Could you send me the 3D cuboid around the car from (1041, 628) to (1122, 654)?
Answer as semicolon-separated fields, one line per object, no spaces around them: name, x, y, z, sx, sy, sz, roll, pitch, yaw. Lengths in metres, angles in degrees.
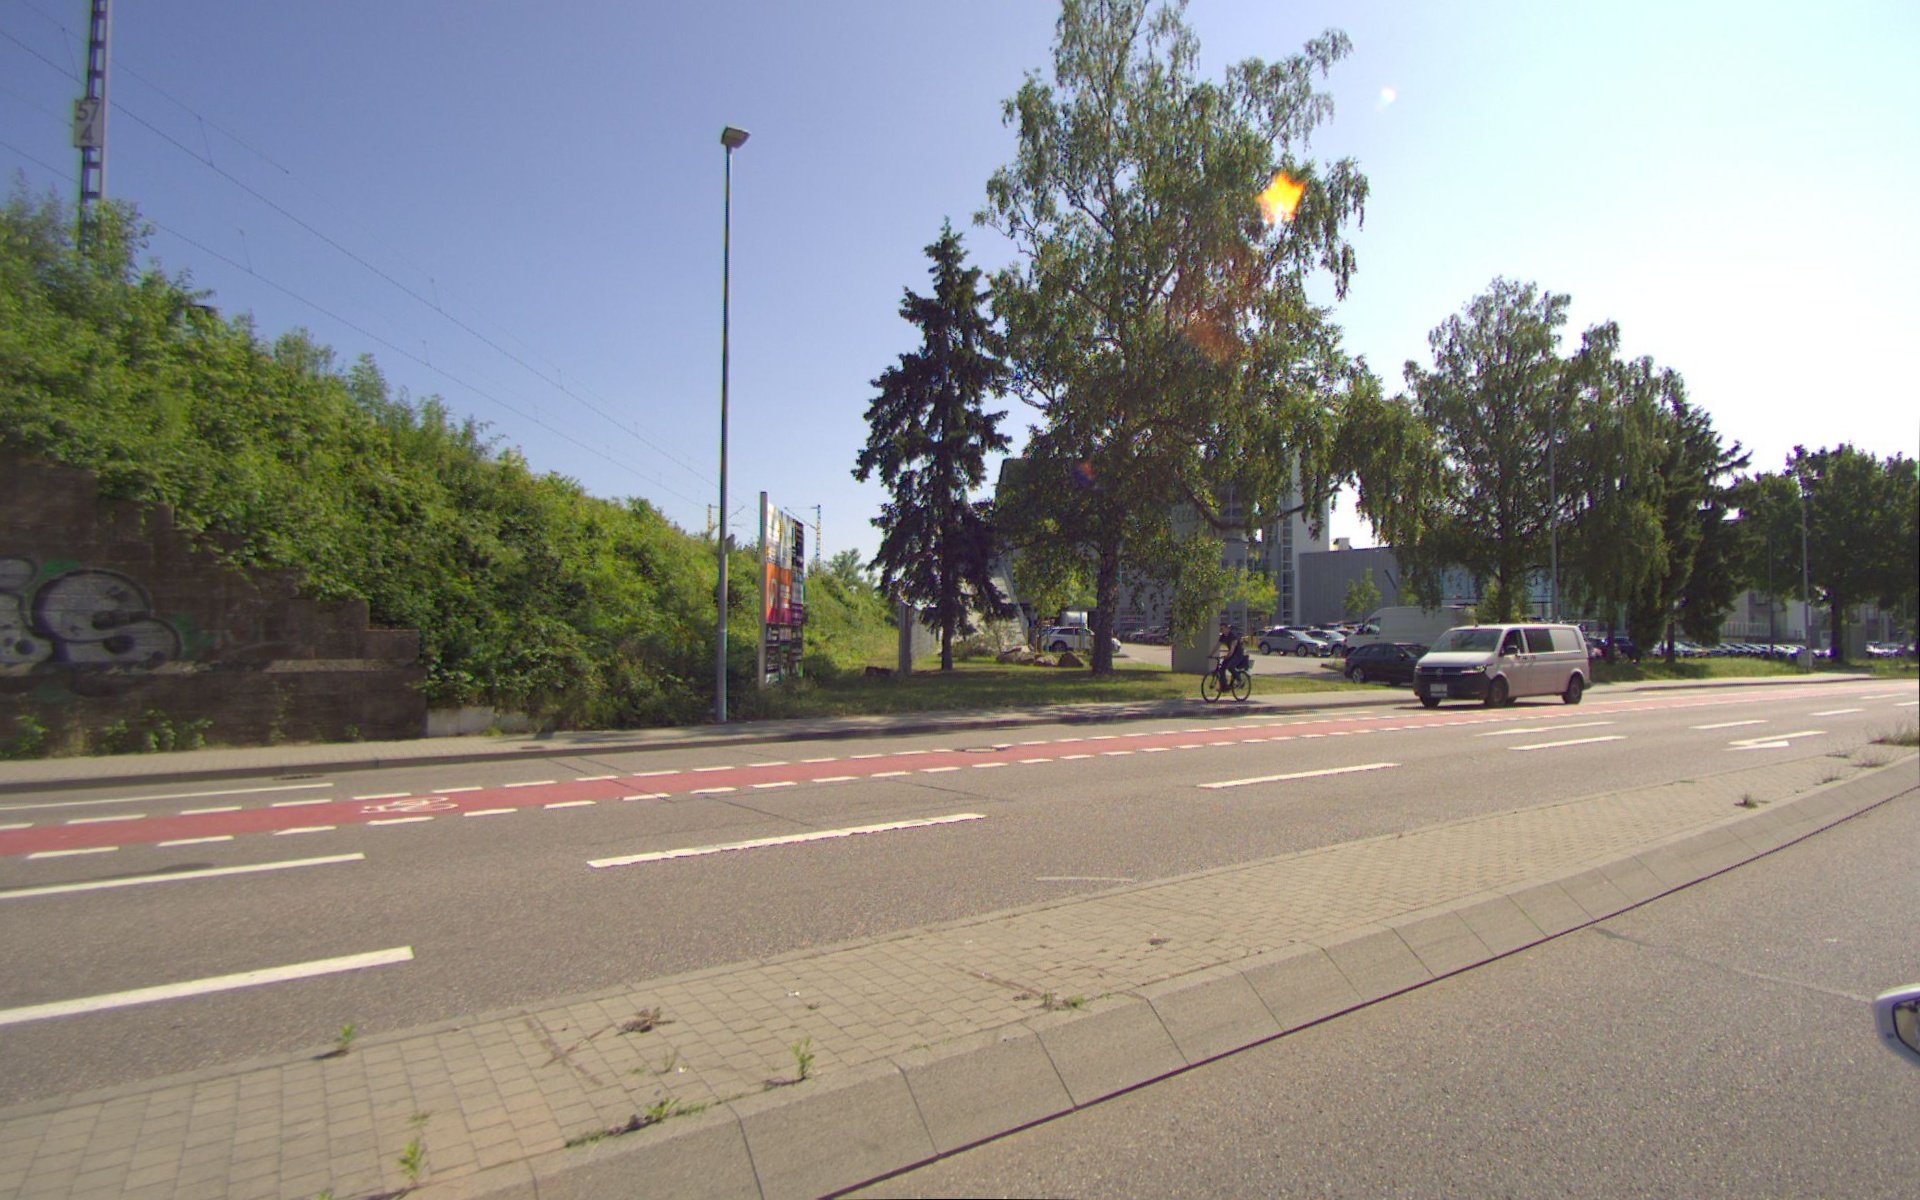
car;7.097;2.424;58.913;4.461;1.461;2.000;0;-2;-1

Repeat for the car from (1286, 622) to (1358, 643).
car;24.002;2.183;66.676;1.933;1.368;4.242;2;-3;-33

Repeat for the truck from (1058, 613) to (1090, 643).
truck;11.796;2.978;104.427;2.613;2.955;8.467;0;-2;1

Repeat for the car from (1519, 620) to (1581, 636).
car;51.027;2.419;86.876;1.933;1.368;4.242;2;-3;-33

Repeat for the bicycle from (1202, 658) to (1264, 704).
bicycle;6.472;1.908;23.792;1.596;1.041;0.444;1;-3;-31

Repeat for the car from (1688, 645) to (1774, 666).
car;52.376;3.776;68.327;1.932;1.368;4.244;2;-3;-32

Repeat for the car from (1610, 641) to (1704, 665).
car;41.779;3.145;60.305;1.932;1.368;4.244;2;-3;-32

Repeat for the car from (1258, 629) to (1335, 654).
car;18.961;2.368;56.800;1.722;1.372;4.071;2;-3;-28

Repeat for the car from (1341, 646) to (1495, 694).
car;14.735;2.207;32.638;1.968;1.432;4.665;1;-3;-17

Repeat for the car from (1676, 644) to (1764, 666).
car;50.197;3.607;66.424;1.932;1.368;4.244;2;-3;-32

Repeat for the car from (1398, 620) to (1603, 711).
car;13.374;1.557;24.774;5.284;2.040;1.984;1;-3;-30

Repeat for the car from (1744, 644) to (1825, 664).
car;60.415;3.940;73.673;1.932;1.368;4.244;2;-3;-32

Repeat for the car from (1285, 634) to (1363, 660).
car;21.121;2.740;58.423;1.725;1.457;4.063;2;-3;-33

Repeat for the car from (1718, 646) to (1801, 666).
car;56.604;3.962;71.201;1.932;1.368;4.244;2;-3;-32

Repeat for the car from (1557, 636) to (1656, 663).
car;35.858;2.725;55.840;1.932;1.399;4.244;2;-3;-32

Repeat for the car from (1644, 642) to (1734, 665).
car;46.041;3.362;63.512;1.932;1.368;4.244;2;-3;-32

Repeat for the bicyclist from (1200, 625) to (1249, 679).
bicyclist;6.232;1.229;23.703;0.939;1.244;0.631;1;-3;-30

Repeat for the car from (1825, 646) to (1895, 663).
car;74.868;4.495;83.587;2.004;1.394;4.018;2;-3;-34

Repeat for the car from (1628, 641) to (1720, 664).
car;44.024;3.210;62.033;1.932;1.368;4.244;2;-3;-32

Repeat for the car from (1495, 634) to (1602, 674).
car;29.497;2.673;50.501;1.932;1.909;4.244;2;-3;-32

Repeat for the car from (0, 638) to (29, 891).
car;-7.319;0.978;4.952;3.791;1.514;1.632;0;-3;-36

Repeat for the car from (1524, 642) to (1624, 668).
car;33.290;2.956;54.533;1.932;1.345;4.244;2;-3;-32

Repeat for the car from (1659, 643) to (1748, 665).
car;48.082;3.487;65.050;1.932;1.368;4.244;2;-3;-32

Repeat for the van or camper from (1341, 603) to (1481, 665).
van or camper;19.703;1.414;44.138;1.981;2.504;5.340;0;0;-36
